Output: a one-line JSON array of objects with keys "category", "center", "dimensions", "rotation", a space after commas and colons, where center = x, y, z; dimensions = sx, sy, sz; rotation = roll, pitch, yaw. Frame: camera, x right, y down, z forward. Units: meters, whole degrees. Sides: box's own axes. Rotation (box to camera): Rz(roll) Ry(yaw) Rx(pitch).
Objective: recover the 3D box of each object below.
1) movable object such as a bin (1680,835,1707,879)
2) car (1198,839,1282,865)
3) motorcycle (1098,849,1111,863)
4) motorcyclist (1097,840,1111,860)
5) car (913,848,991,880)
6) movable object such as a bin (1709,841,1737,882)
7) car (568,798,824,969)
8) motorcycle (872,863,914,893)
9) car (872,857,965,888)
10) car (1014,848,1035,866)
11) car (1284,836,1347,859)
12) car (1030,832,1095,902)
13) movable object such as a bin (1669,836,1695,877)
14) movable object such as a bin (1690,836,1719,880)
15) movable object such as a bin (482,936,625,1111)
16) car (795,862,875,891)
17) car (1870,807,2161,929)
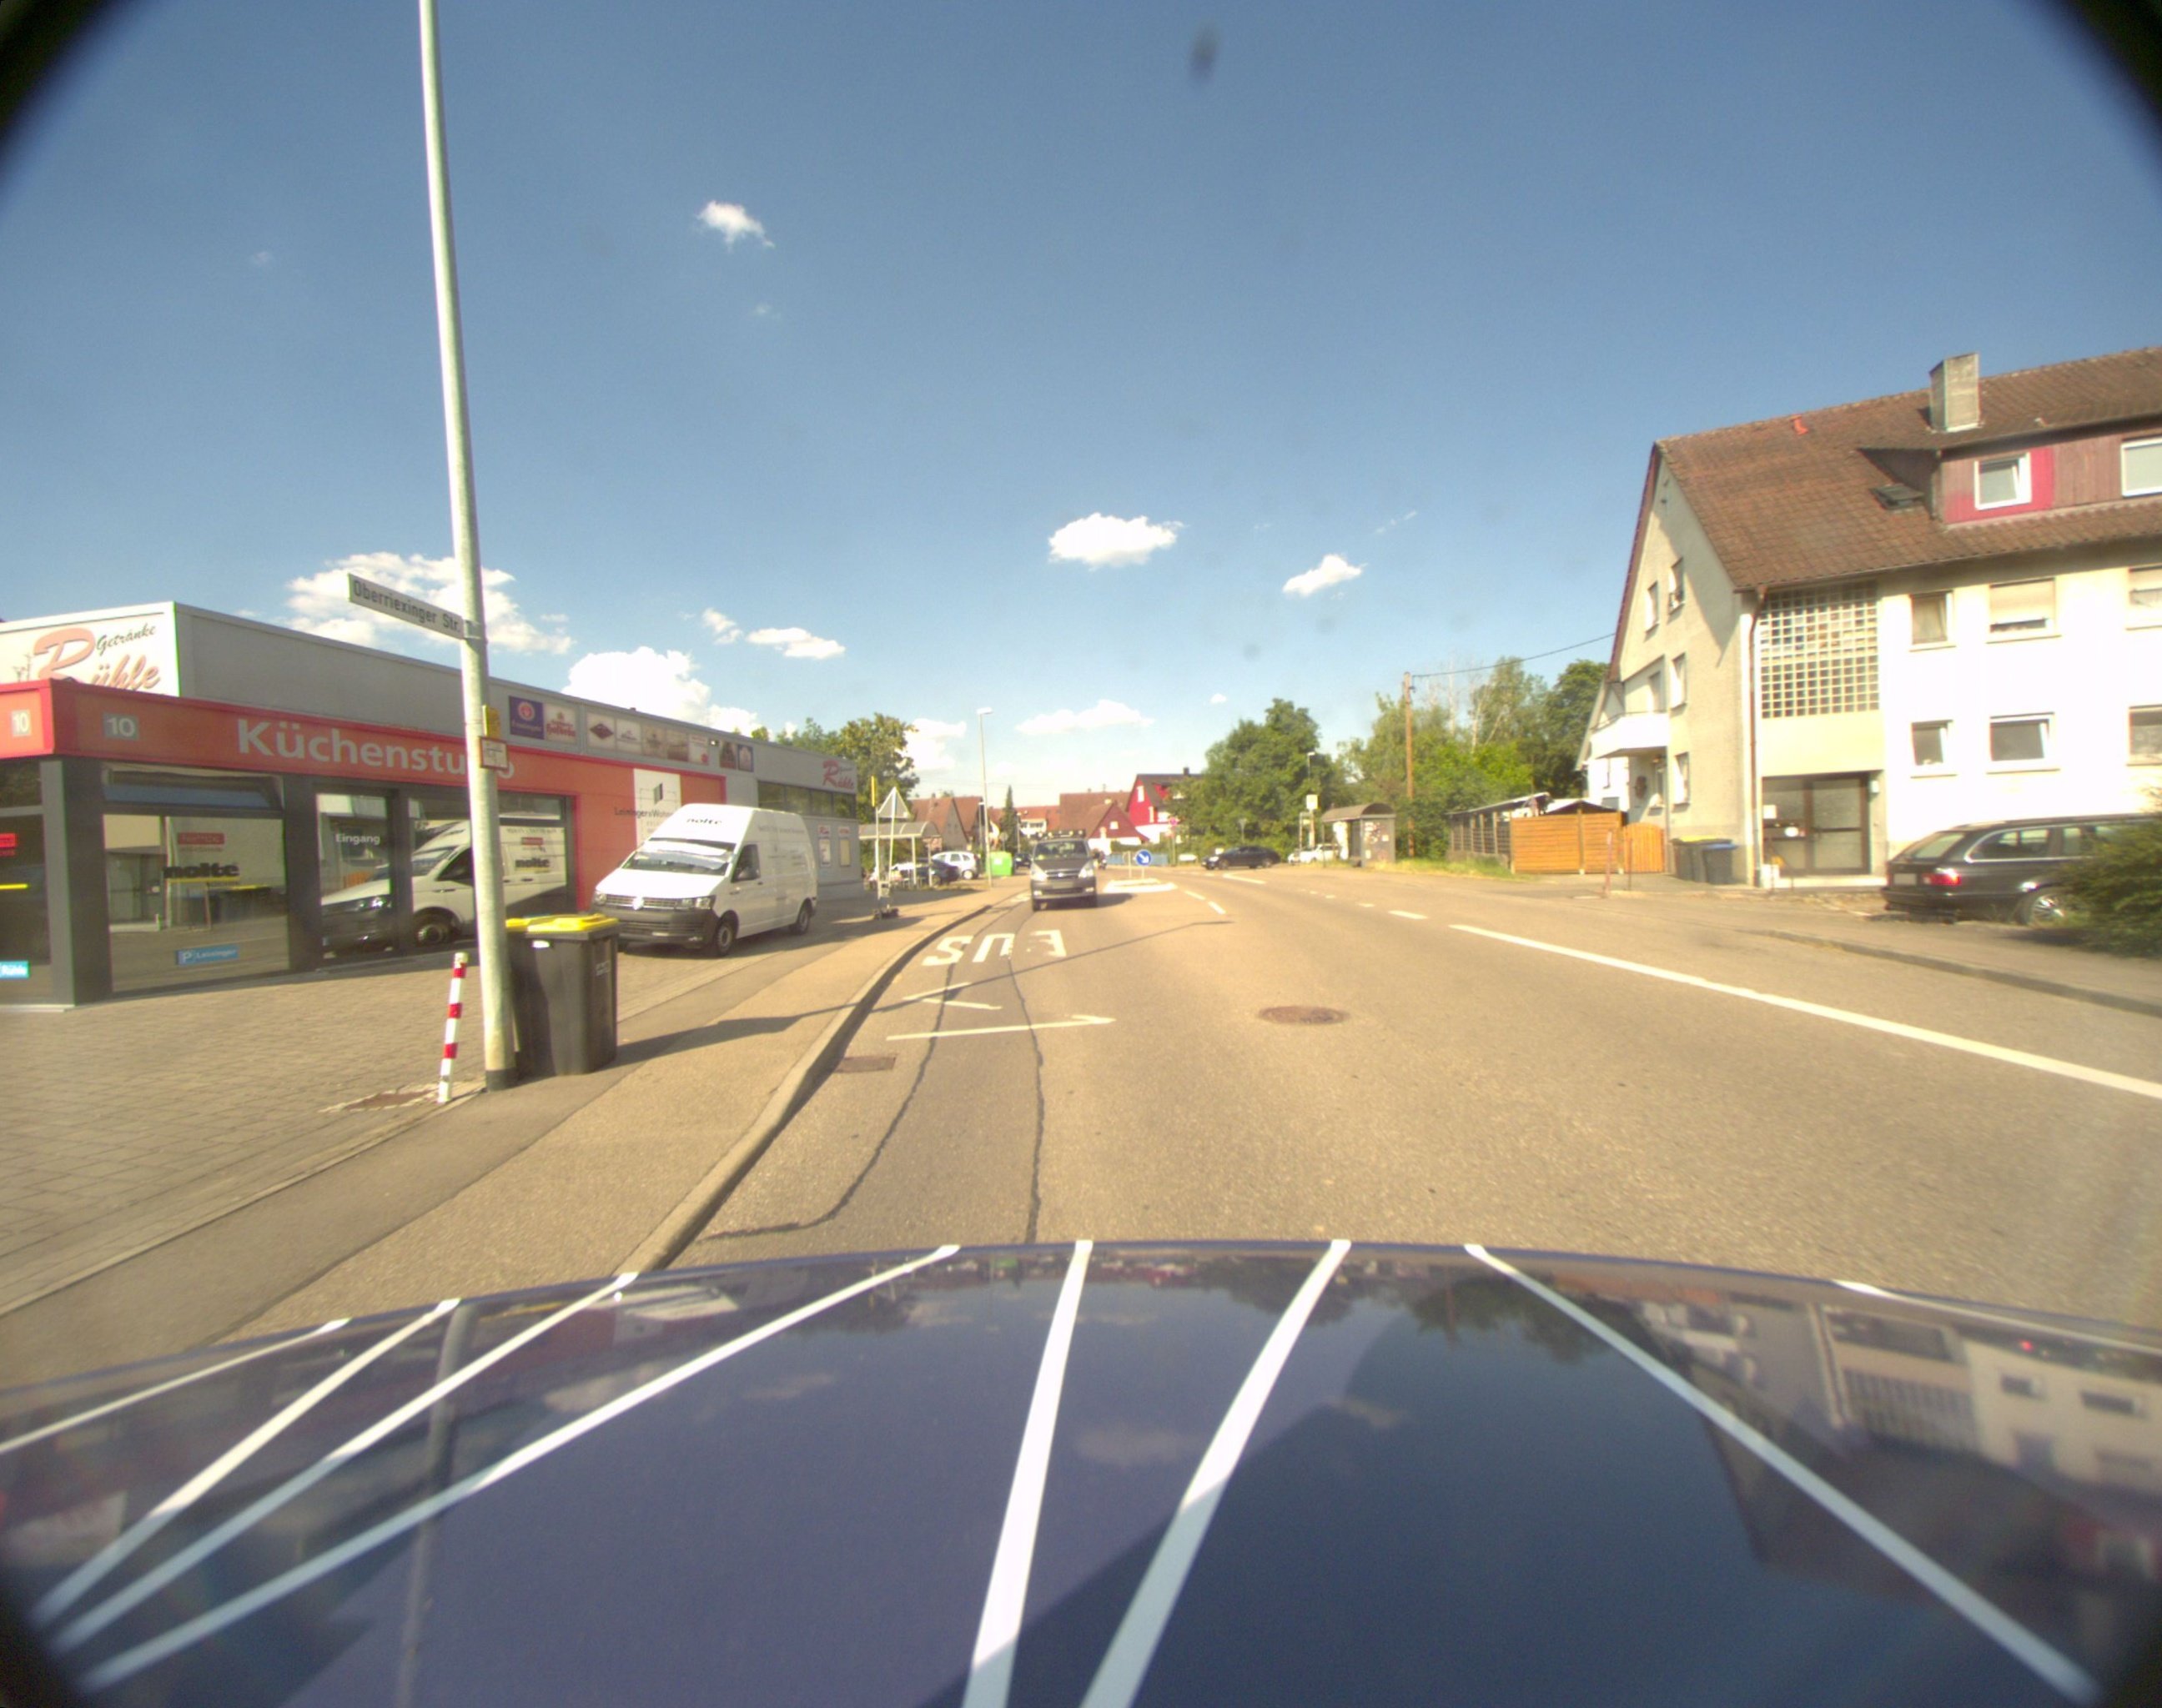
[{"category": "movable object such as a bin", "center": [15.097, 0.064, 18.737], "dimensions": [0.361, 1.035, 0.558], "rotation": [-2, 3, 20]}, {"category": "car", "center": [9.850, -0.136, 47.113], "dimensions": [4.848, 1.423, 1.768], "rotation": [-2, 1, -19]}, {"category": "motorcycle", "center": [1.723, 0.134, 56.434], "dimensions": [0.526, 1.007, 2.026], "rotation": [-4, 1, -8]}, {"category": "motorcyclist", "center": [1.699, -0.271, 56.533], "dimensions": [0.805, 1.428, 1.036], "rotation": [-3, 1, -9]}, {"category": "car", "center": [-7.199, 0.559, 42.606], "dimensions": [3.948, 1.594, 1.682], "rotation": [-2, 2, 3]}, {"category": "movable object such as a bin", "center": [14.841, 0.160, 17.568], "dimensions": [0.361, 0.920, 0.400], "rotation": [-2, 3, 19]}, {"category": "car", "center": [-6.316, 0.398, 13.335], "dimensions": [1.841, 2.361, 5.177], "rotation": [-2, 1, -1]}, {"category": "motorcycle", "center": [-8.607, 1.081, 34.788], "dimensions": [1.832, 1.316, 0.639], "rotation": [-1, 1, -15]}, {"category": "car", "center": [-7.860, 0.880, 36.851], "dimensions": [4.073, 1.409, 1.626], "rotation": [0, 1, 5]}, {"category": "car", "center": [-5.552, 0.256, 74.272], "dimensions": [1.974, 1.647, 3.997], "rotation": [0, 1, -6]}, {"category": "car", "center": [16.315, -0.460, 52.861], "dimensions": [4.282, 1.483, 1.857], "rotation": [-2, 1, -34]}, {"category": "car", "center": [-0.491, 0.366, 24.300], "dimensions": [1.820, 1.988, 4.821], "rotation": [-1, 1, 1]}, {"category": "movable object such as a bin", "center": [15.327, 0.056, 19.374], "dimensions": [0.361, 1.010, 0.558], "rotation": [-2, 2, 20]}, {"category": "movable object such as a bin", "center": [14.920, 0.094, 18.178], "dimensions": [0.361, 1.017, 0.577], "rotation": [-2, 2, 20]}, {"category": "movable object such as a bin", "center": [-3.616, 1.140, 5.249], "dimensions": [0.568, 1.069, 0.572], "rotation": [-1, 1, -1]}, {"category": "car", "center": [-14.009, 1.267, 43.392], "dimensions": [3.948, 1.440, 1.682], "rotation": [-2, 2, 3]}, {"category": "car", "center": [13.004, 0.146, 9.539], "dimensions": [3.989, 1.425, 1.656], "rotation": [-2, 1, 30]}]
